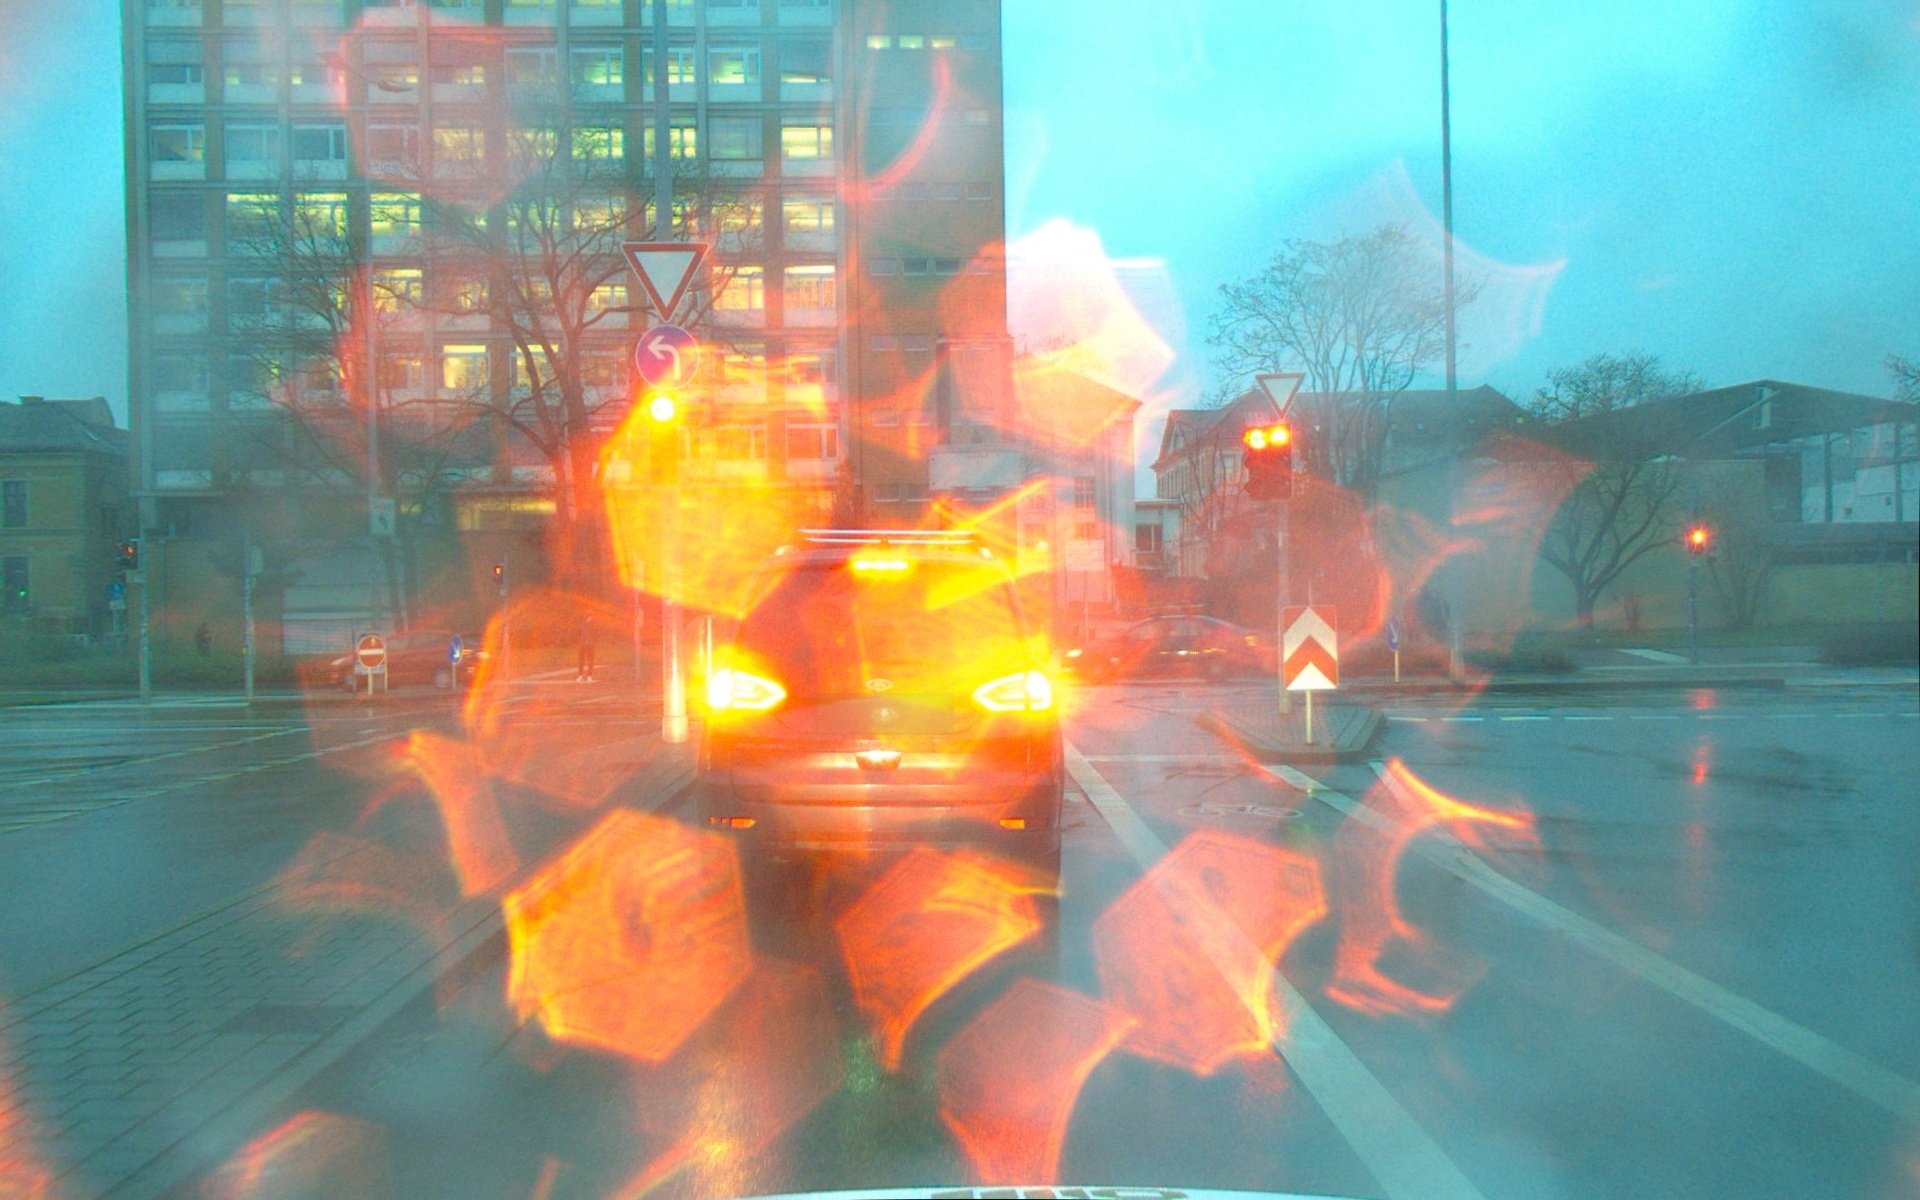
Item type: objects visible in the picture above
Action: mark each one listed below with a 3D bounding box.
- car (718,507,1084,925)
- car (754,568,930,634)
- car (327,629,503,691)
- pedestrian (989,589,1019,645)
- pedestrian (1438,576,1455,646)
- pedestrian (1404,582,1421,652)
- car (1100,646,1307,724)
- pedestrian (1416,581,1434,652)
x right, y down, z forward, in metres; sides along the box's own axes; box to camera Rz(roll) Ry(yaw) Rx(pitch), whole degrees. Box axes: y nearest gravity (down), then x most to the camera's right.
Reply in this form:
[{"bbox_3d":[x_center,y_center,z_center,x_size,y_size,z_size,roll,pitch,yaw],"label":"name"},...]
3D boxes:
[{"bbox_3d":[-0.293,0.505,9.360,1.613,1.850,3.999,0,0,-1],"label":"car"},{"bbox_3d":[-3.791,0.053,53.607,5.429,2.060,2.001,0,-2,5],"label":"car"},{"bbox_3d":[-13.053,1.433,39.702,3.708,1.423,1.566,0,-2,11],"label":"car"},{"bbox_3d":[1.349,0.516,50.651,0.676,1.690,0.671,1,-2,-28],"label":"pedestrian"},{"bbox_3d":[13.170,0.304,44.752,0.428,1.871,0.460,0,-2,17],"label":"pedestrian"},{"bbox_3d":[12.288,0.469,44.867,0.428,1.871,0.460,0,-2,17],"label":"pedestrian"},{"bbox_3d":[5.336,1.817,36.082,4.338,1.608,1.969,0,-2,12],"label":"car"},{"bbox_3d":[12.307,0.436,43.812,0.448,1.871,0.439,0,-2,16],"label":"pedestrian"}]
